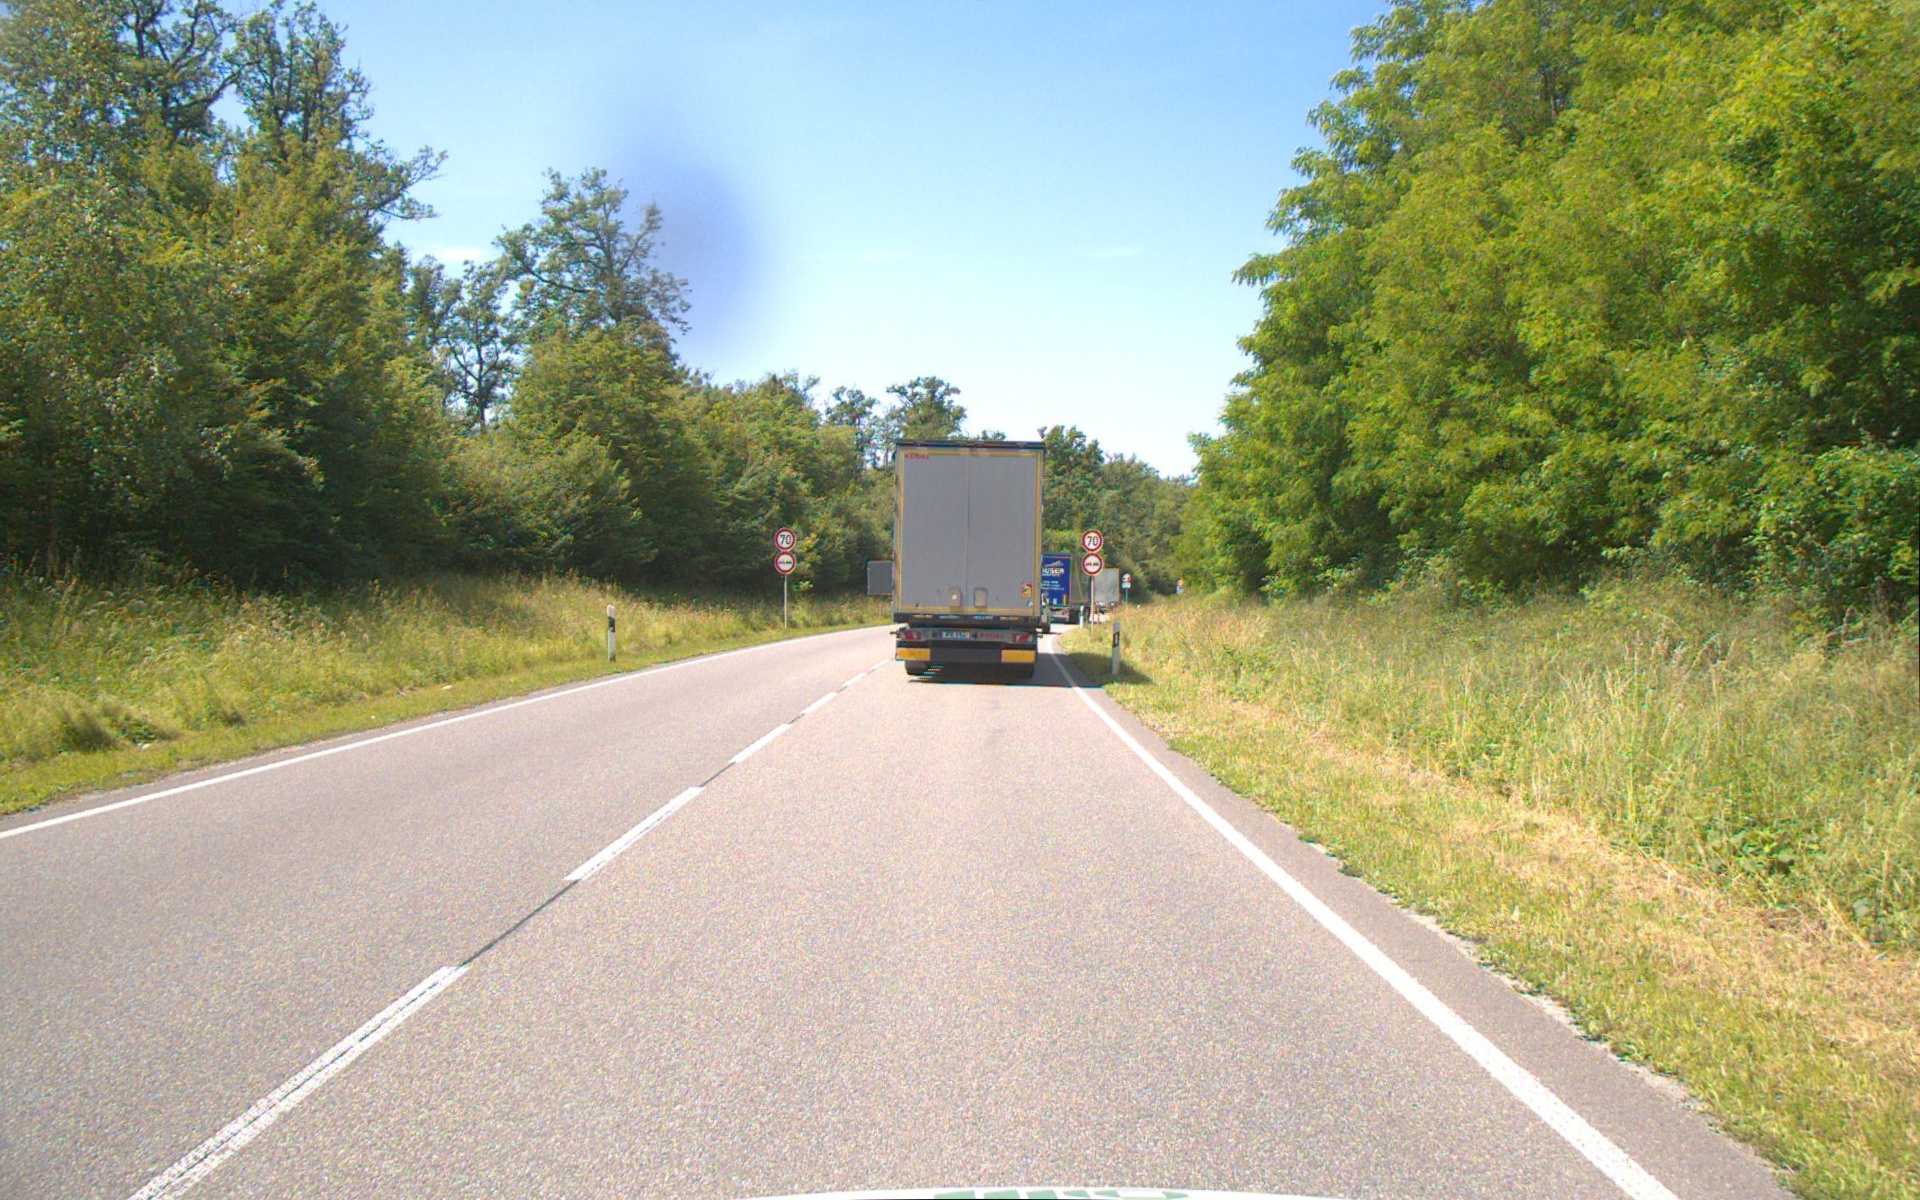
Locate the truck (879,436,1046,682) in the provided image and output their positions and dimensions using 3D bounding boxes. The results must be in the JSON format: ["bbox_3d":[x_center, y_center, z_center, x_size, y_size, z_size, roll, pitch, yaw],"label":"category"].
[{"bbox_3d":[0.192,-0.735,33.481,2.704,4.016,12.200,1,1,1],"label":"truck"}]

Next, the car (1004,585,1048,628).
[{"bbox_3d":[2.813,0.257,69.519,1.732,1.738,4.002,0,0,4],"label":"car"}]

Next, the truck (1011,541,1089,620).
[{"bbox_3d":[5.703,-1.170,101.723,3.712,4.449,14.931,0,0,7],"label":"truck"}]
